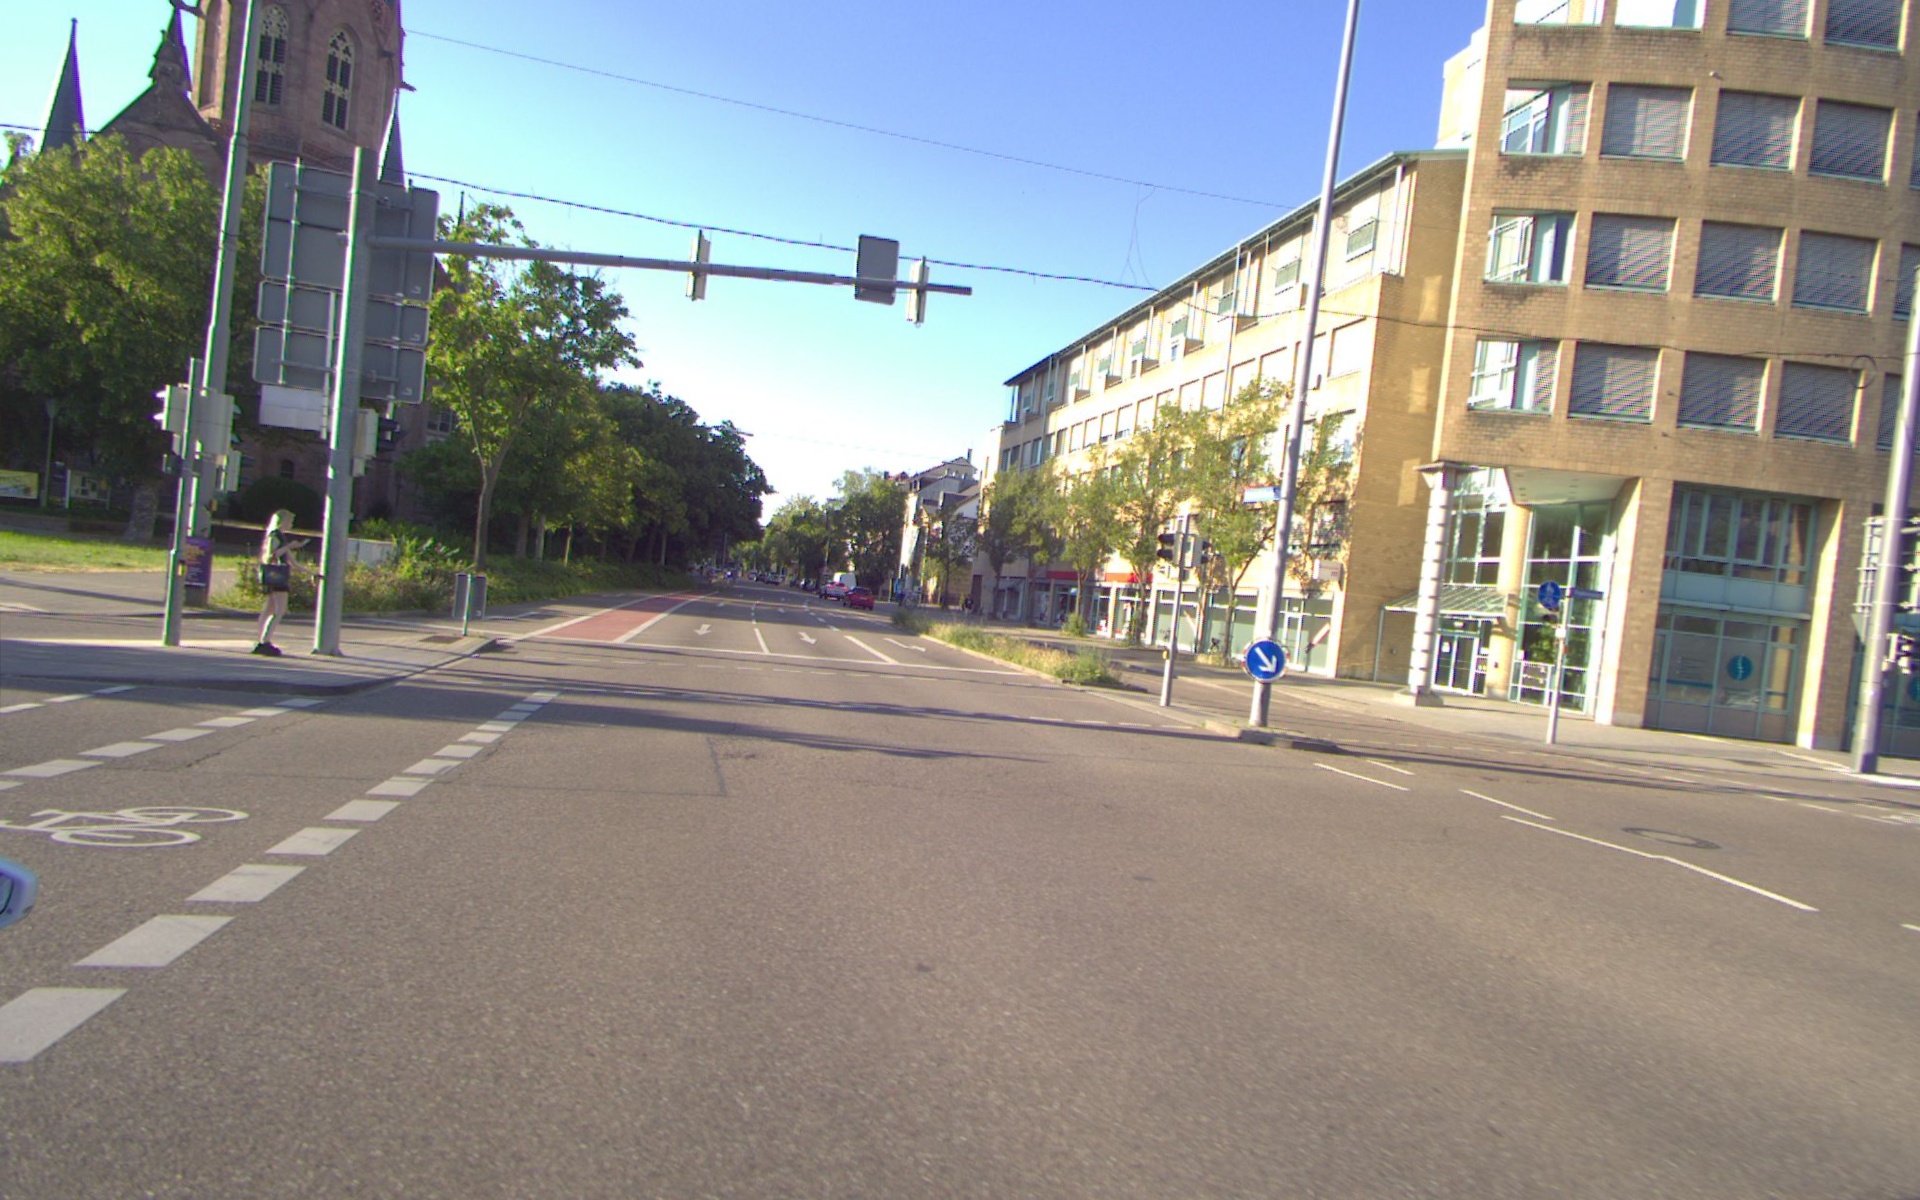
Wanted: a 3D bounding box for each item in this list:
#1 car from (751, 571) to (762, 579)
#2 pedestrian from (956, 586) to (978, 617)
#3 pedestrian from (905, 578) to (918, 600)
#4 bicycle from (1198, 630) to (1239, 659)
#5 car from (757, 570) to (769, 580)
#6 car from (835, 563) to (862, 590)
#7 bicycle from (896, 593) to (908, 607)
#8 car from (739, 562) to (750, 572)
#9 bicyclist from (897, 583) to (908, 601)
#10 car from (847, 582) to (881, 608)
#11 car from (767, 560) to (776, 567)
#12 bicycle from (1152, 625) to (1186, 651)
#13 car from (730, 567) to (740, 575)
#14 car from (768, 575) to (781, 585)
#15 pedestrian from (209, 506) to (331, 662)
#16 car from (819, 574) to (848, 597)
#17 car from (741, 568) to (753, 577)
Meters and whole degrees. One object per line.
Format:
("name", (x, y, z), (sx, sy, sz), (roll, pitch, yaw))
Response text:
("car", (-36.565, -4.493, 180.679), (1.574, 1.284, 3.256), (6, 1, -14))
("pedestrian", (0.501, 0.095, 69.375), (1.093, 2.001, 1.157), (6, 1, -14))
("pedestrian", (-4.336, -1.003, 90.020), (0.837, 1.827, 0.773), (6, 2, -14))
("bicycle", (10.893, 1.863, 42.465), (0.638, 1.007, 2.074), (6, 1, -14))
("car", (-31.969, -4.065, 163.068), (1.574, 1.284, 3.256), (6, 1, -14))
("car", (-11.426, -2.398, 103.020), (1.968, 2.471, 3.988), (7, 1, -14))
("bicycle", (-4.780, -0.025, 82.624), (0.584, 0.955, 1.971), (7, 1, -13))
("car", (-43.742, -6.728, 204.320), (1.863, 1.692, 3.988), (7, 1, -14))
("bicyclist", (-4.693, -0.641, 82.551), (0.584, 1.386, 0.926), (7, 2, -14))
("car", (-6.708, -0.389, 69.796), (1.649, 1.481, 3.988), (7, 0, -14))
("car", (-39.258, -7.536, 209.541), (1.574, 1.284, 3.256), (6, 1, -14))
("bicycle", (9.751, 1.748, 47.053), (0.638, 1.007, 2.074), (6, 1, -14))
("car", (-40.091, -5.231, 179.399), (1.574, 1.284, 3.256), (6, 1, -14))
("car", (-26.774, -2.923, 145.114), (1.574, 1.284, 3.256), (6, 1, -14))
("pedestrian", (-8.412, -0.194, 12.315), (0.799, 1.761, 0.965), (6, 1, -13))
("car", (-10.966, -1.256, 87.131), (1.892, 1.627, 4.256), (7, 0, -14))
("car", (-34.420, -4.404, 162.519), (1.574, 1.284, 3.256), (6, 1, -14))
